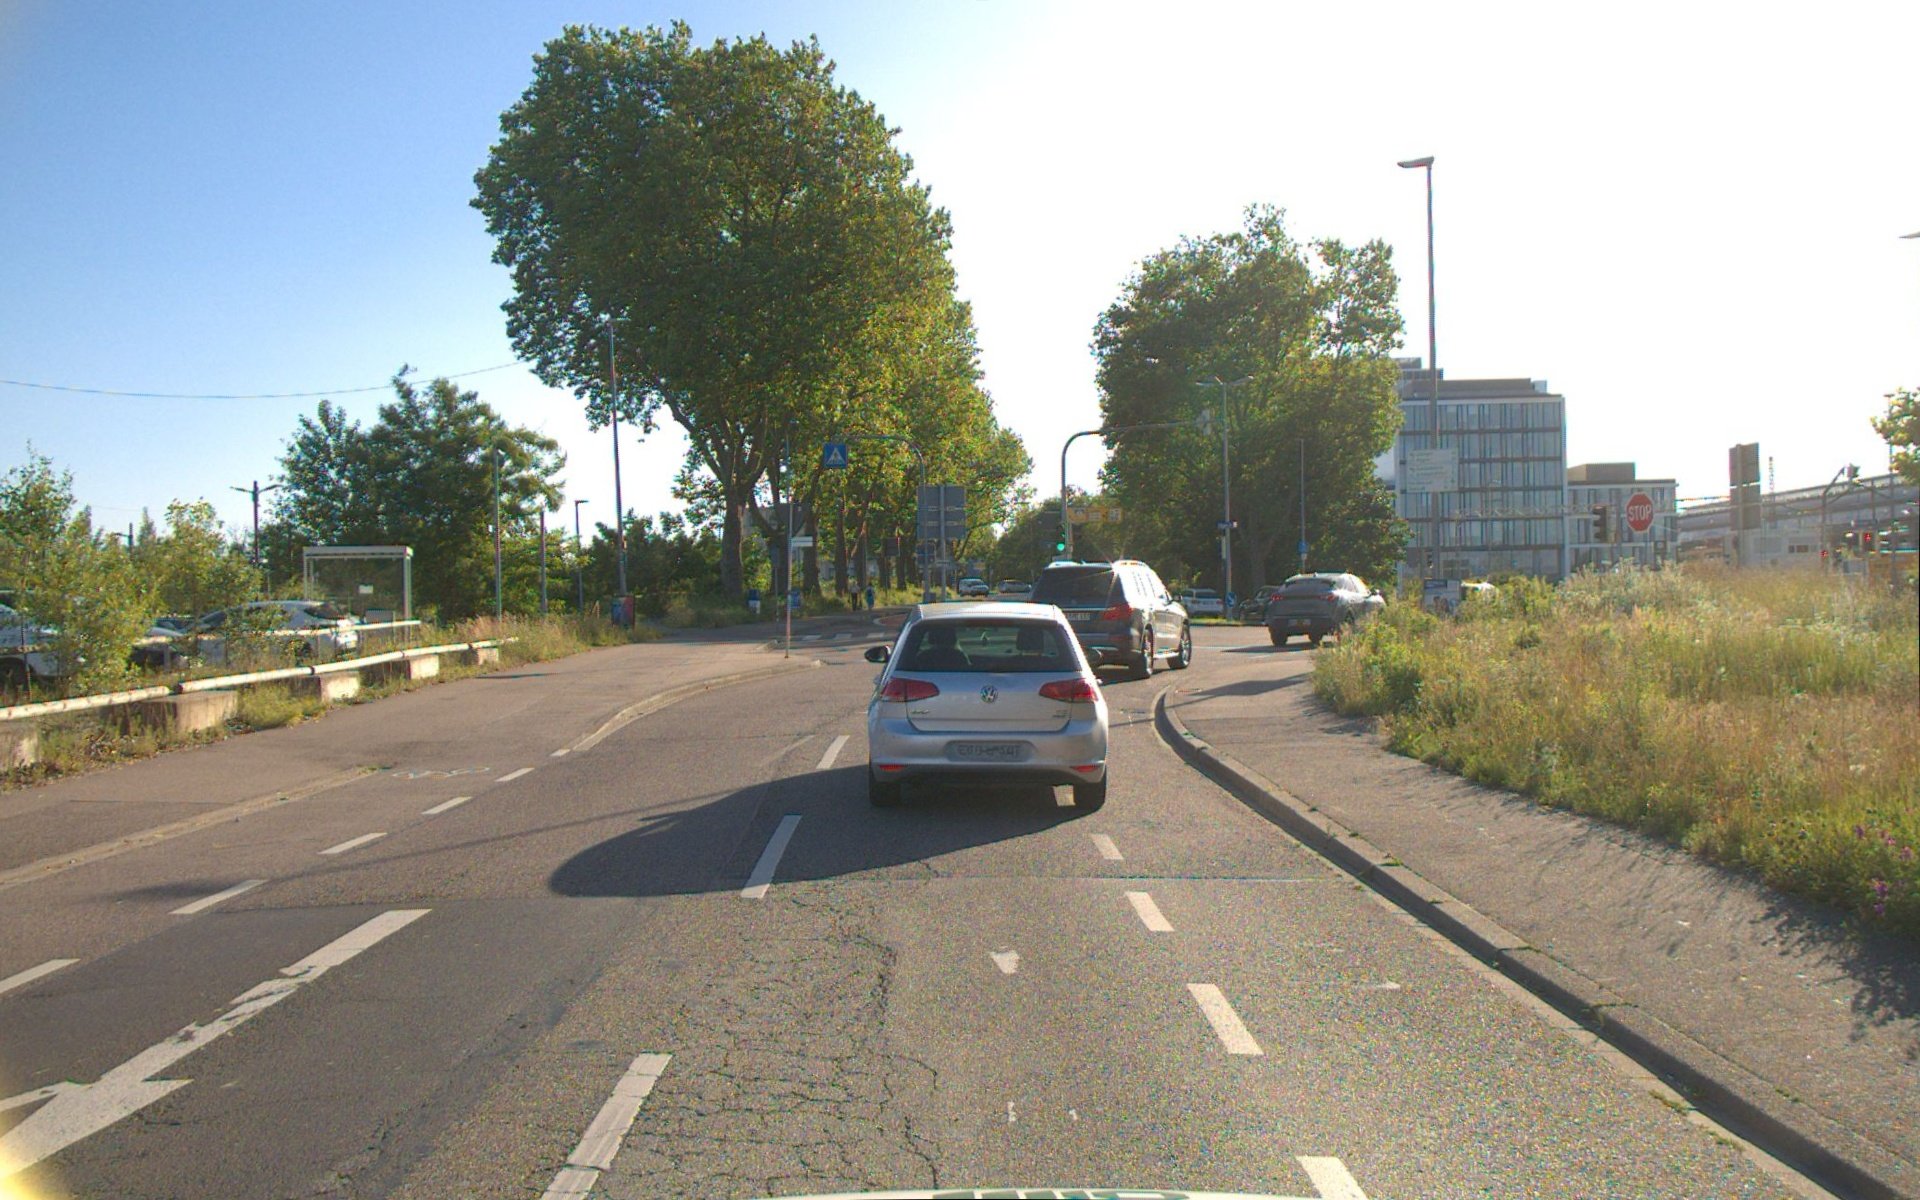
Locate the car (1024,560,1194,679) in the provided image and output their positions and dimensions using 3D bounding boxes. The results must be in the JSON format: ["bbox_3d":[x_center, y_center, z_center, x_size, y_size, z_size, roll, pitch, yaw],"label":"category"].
[{"bbox_3d":[2.570,0.287,27.480,1.781,1.800,4.631,0,0,19],"label":"car"}]

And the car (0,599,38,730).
[{"bbox_3d":[-13.632,0.792,19.895,4.006,1.585,1.877,0,0,-2],"label":"car"}]

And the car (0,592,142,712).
[{"bbox_3d":[-13.937,0.693,22.695,4.450,1.585,1.877,0,0,-2],"label":"car"}]

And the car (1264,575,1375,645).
[{"bbox_3d":[8.652,0.217,39.522,1.875,1.556,4.407,0,0,22],"label":"car"}]

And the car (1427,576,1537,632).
[{"bbox_3d":[15.780,0.118,49.922,1.868,1.624,3.981,-1,0,39],"label":"car"}]

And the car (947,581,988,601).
[{"bbox_3d":[0.792,-0.944,172.469,3.916,2.049,1.994,0,0,33],"label":"car"}]

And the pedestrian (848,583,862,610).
[{"bbox_3d":[-5.641,-0.166,88.801,0.664,1.439,0.684,0,0,-1],"label":"pedestrian"}]

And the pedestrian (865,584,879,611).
[{"bbox_3d":[-4.718,-0.151,88.673,0.664,1.439,0.684,0,0,-1],"label":"pedestrian"}]

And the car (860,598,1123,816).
[{"bbox_3d":[0.333,0.715,13.074,1.752,1.445,4.002,0,0,4],"label":"car"}]

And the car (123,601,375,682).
[{"bbox_3d":[-14.532,0.829,33.973,4.336,1.585,1.877,0,0,-2],"label":"car"}]

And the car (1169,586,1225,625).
[{"bbox_3d":[11.847,0.282,82.902,1.954,1.892,3.997,0,-1,-4],"label":"car"}]
